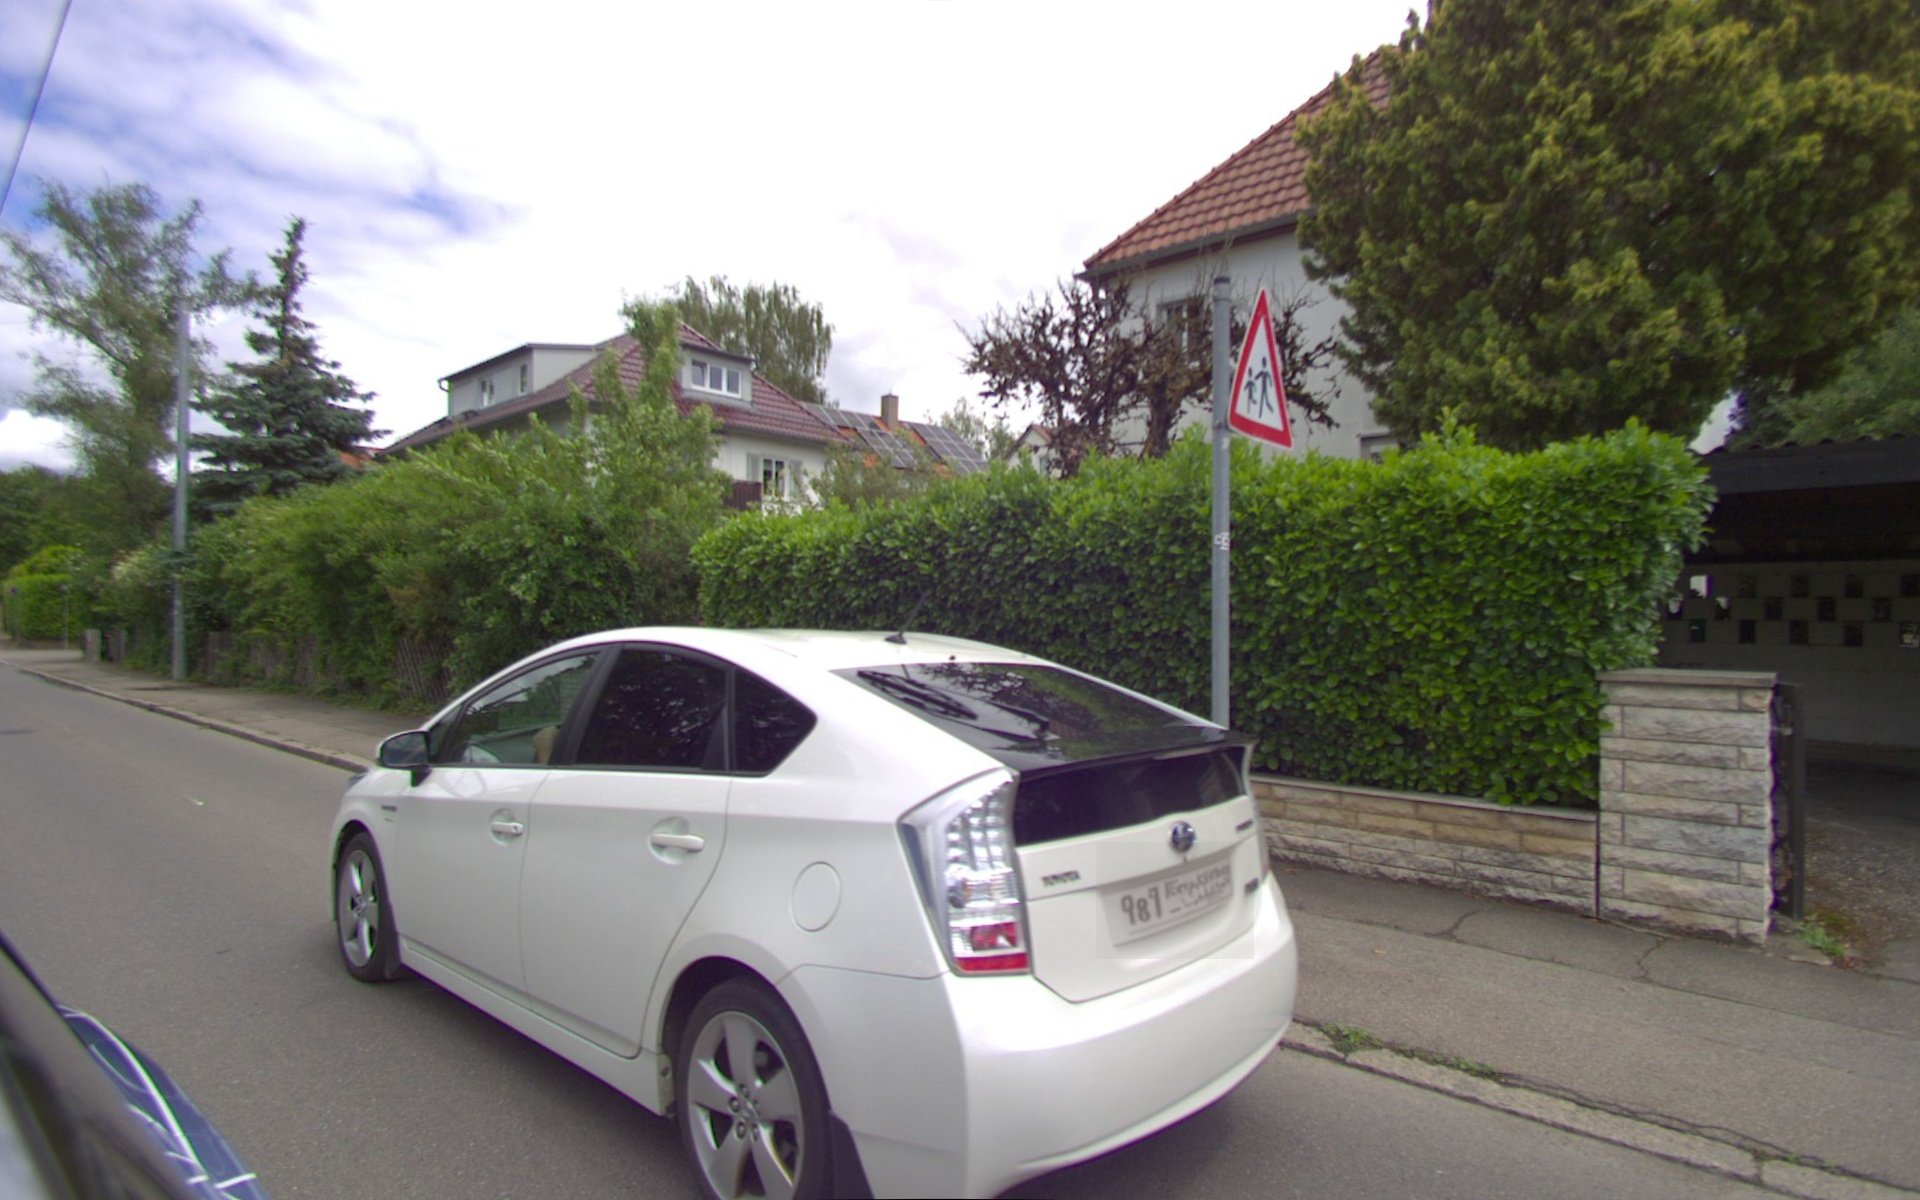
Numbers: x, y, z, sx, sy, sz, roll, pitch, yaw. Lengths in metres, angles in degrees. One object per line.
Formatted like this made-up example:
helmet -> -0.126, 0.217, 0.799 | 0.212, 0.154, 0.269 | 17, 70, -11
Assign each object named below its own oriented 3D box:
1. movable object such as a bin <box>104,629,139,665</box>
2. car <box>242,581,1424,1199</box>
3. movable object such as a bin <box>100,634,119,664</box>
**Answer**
movable object such as a bin -> -27.548, 1.530, 33.255 | 0.722, 1.134, 0.720 | -1, 1, 39
car -> -0.852, 0.778, 3.661 | 4.279, 1.462, 1.835 | -1, -4, 41
movable object such as a bin -> -28.166, 1.630, 33.509 | 0.511, 0.958, 0.374 | -1, 1, 39
